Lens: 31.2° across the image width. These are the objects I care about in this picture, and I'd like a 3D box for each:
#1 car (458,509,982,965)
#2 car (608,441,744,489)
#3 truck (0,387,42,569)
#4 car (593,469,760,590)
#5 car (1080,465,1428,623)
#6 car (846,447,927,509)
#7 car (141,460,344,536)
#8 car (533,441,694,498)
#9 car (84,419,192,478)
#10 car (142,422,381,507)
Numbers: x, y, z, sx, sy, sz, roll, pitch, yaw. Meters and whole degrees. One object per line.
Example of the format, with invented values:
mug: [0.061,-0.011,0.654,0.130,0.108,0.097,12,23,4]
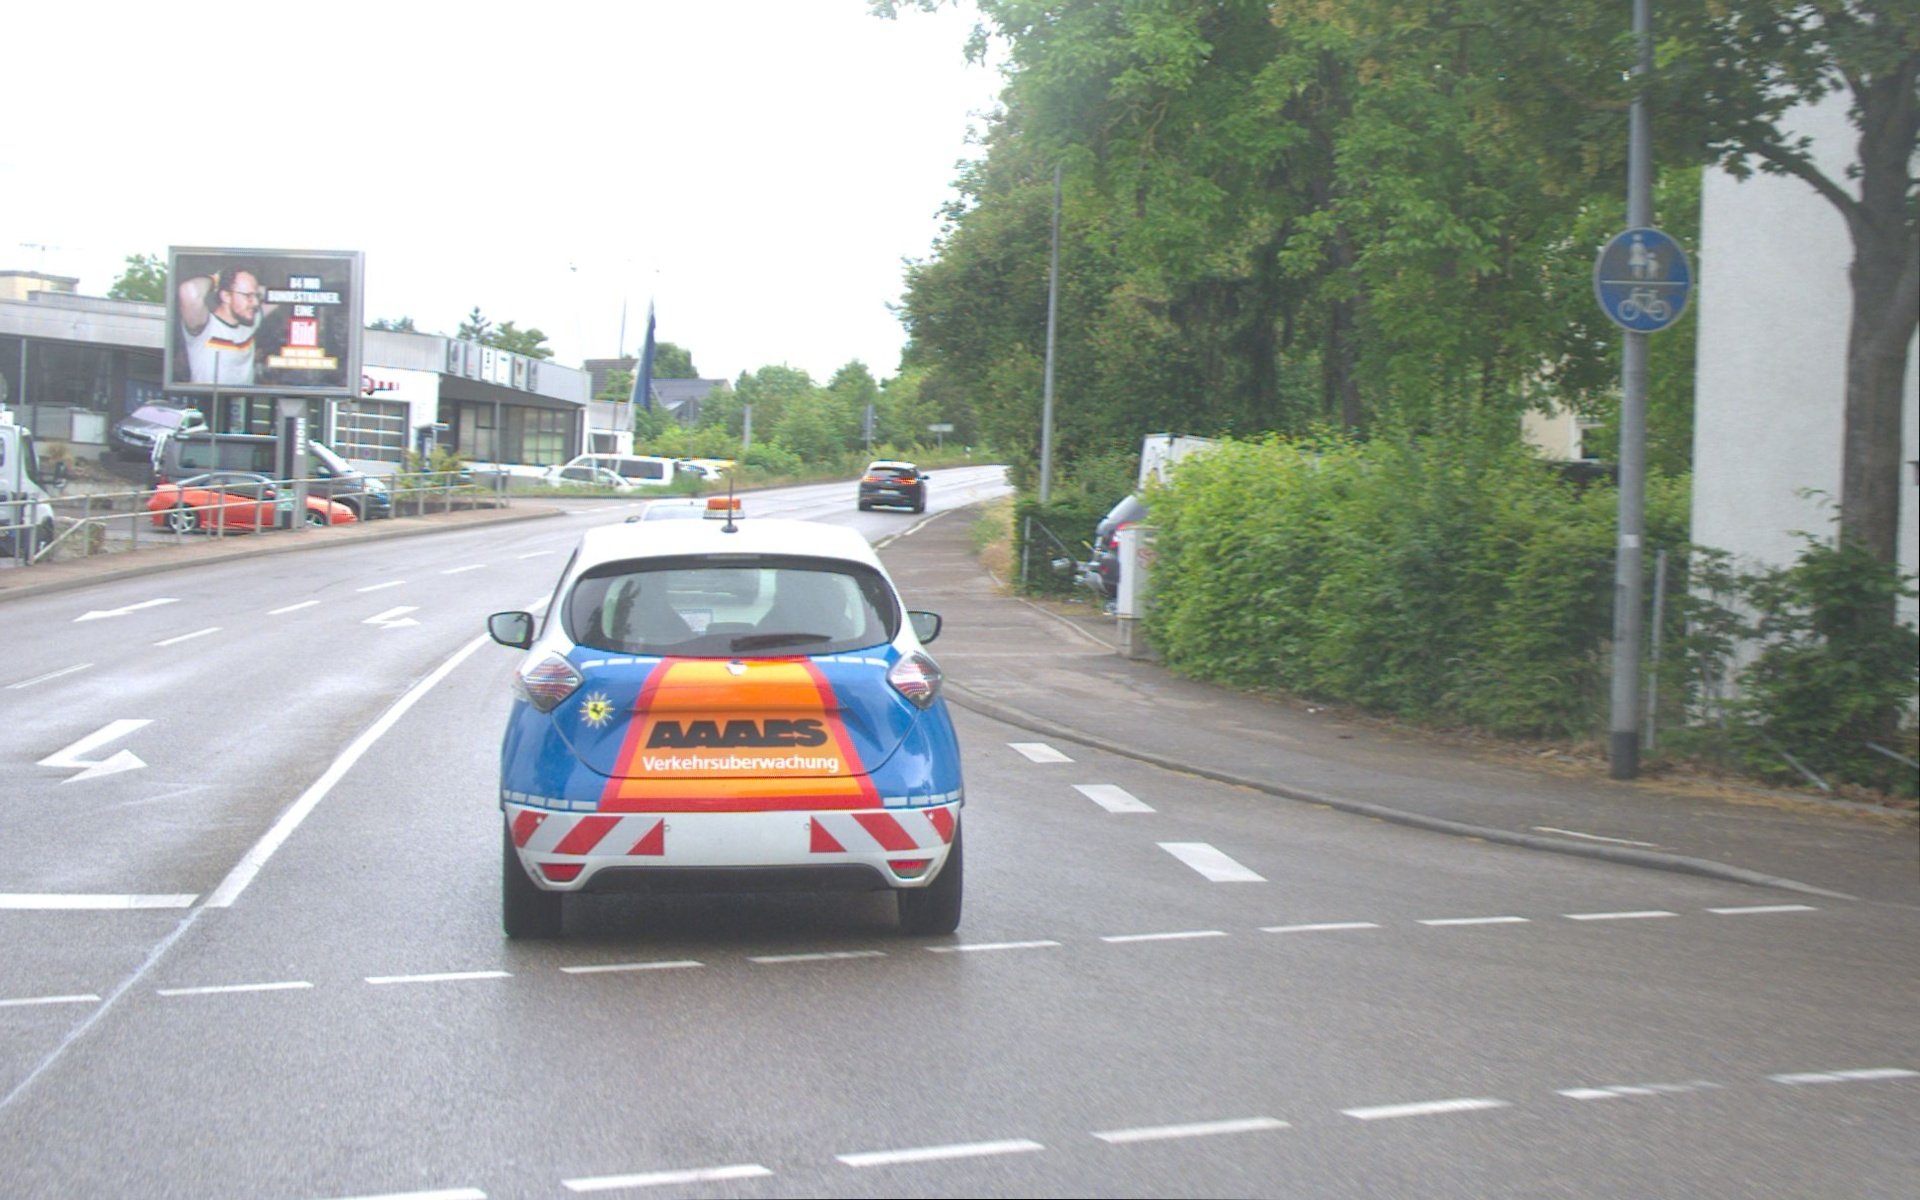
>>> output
car: [-1.116,0.464,13.978,1.745,1.576,4.001,1,0,-9]
car: [-10.771,-5.099,130.357,4.756,1.618,1.815,2,1,-29]
truck: [-14.328,-1.692,46.798,1.993,2.530,5.559,2,2,1]
car: [-3.934,-1.022,48.316,1.993,1.568,4.001,2,2,0]
car: [3.469,-0.691,41.163,3.987,1.717,2.000,2,2,1]
car: [-2.094,-3.500,98.993,1.994,1.678,4.000,2,1,3]
car: [-14.724,-2.083,70.555,3.986,1.371,1.815,2,1,-12]
car: [-11.104,-4.177,110.294,4.756,1.618,1.815,2,1,-29]
car: [-23.657,-4.341,99.050,1.592,1.510,3.999,2,1,9]
car: [-14.924,-2.885,73.598,4.756,1.618,1.815,2,1,-4]
